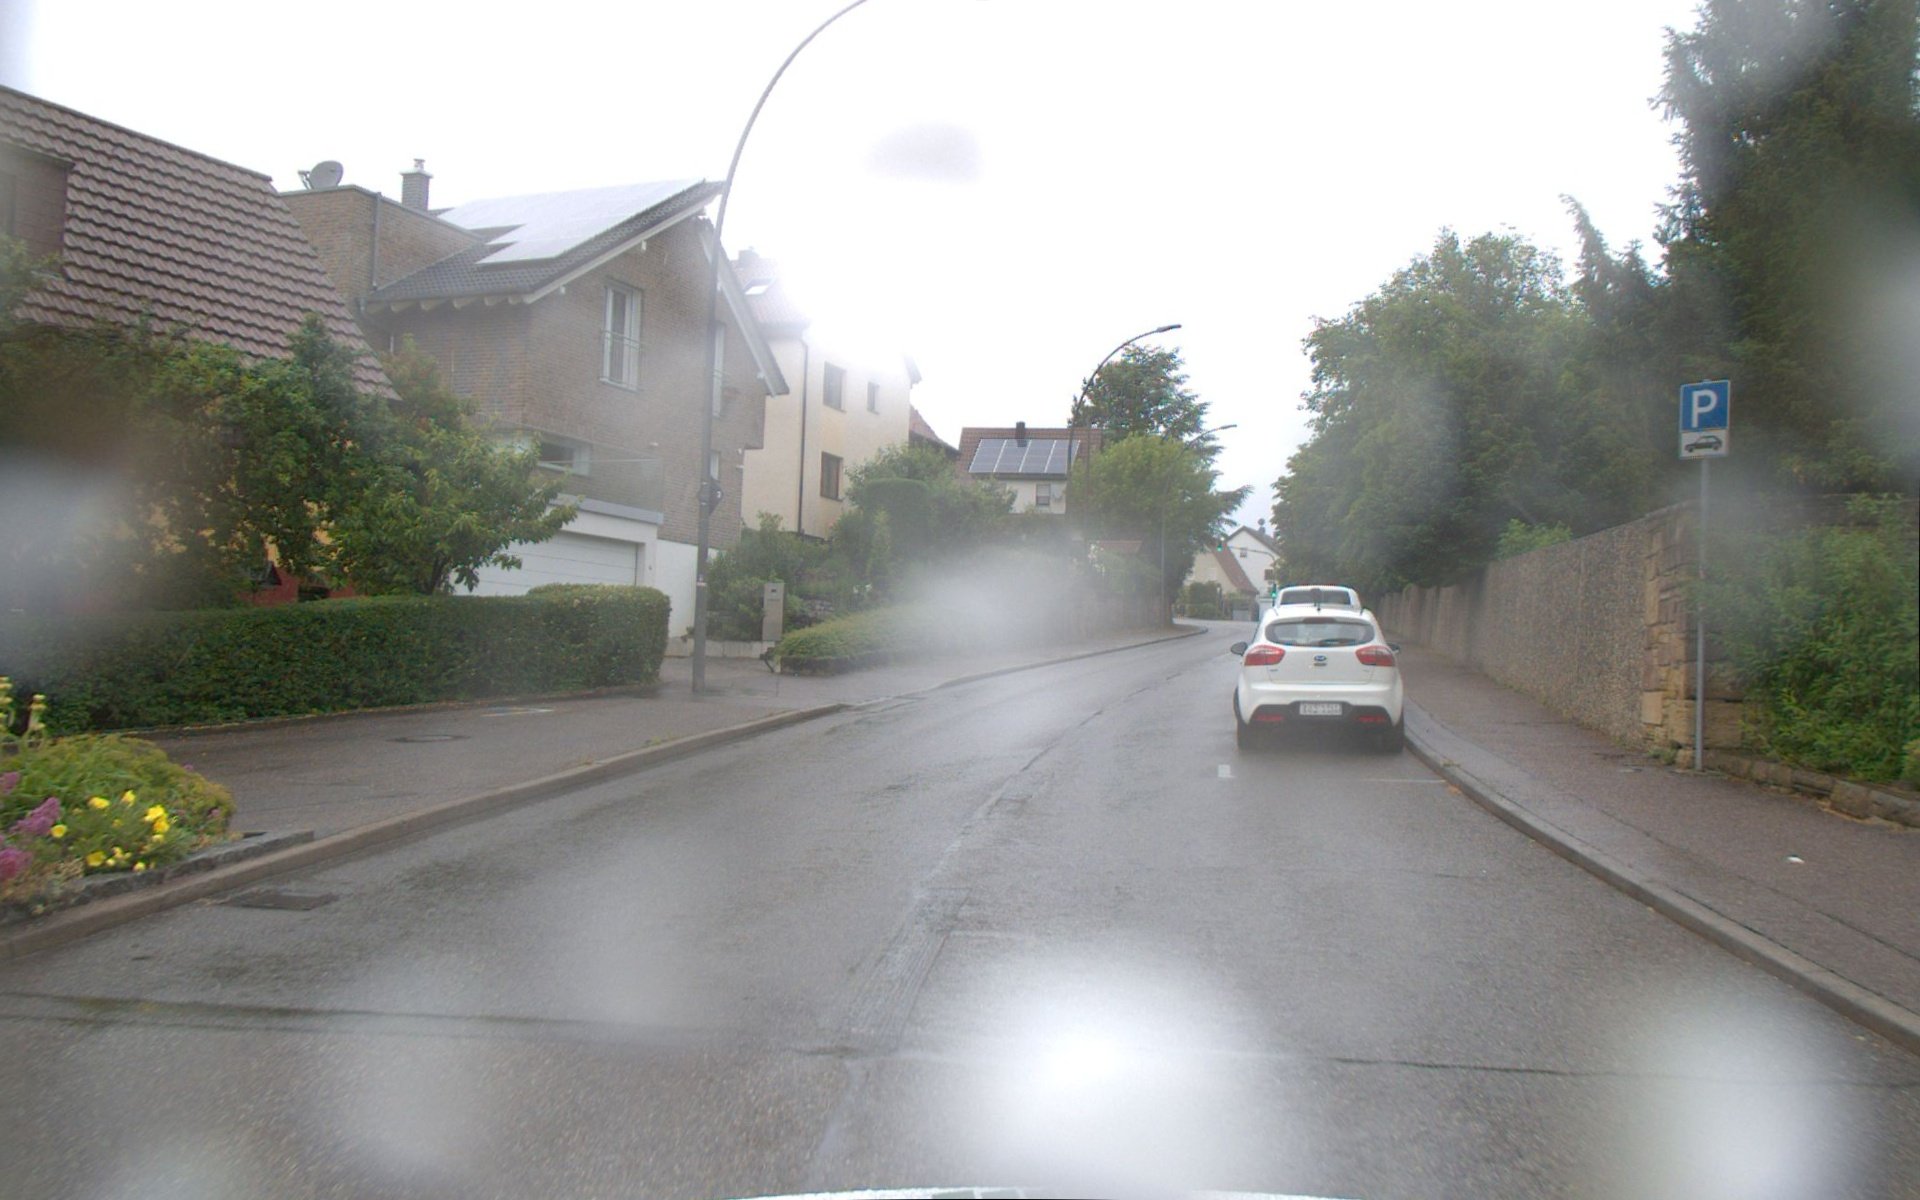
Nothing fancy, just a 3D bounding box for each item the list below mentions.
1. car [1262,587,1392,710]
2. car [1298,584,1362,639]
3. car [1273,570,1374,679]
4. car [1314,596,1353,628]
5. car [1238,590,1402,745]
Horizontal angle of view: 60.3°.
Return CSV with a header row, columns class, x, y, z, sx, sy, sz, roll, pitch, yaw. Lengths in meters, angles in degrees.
class,x,y,z,sx,sy,sz,roll,pitch,yaw
car,5.162,0.606,23.278,1.610,1.487,4.004,1,1,13
car,11.310,0.347,50.420,1.776,1.601,3.883,0,-1,15
car,6.463,0.412,29.220,1.602,1.771,4.139,1,0,14
car,17.127,0.538,76.009,1.616,1.395,4.185,0,0,11
car,3.966,0.665,18.449,1.577,1.506,4.041,1,0,11
